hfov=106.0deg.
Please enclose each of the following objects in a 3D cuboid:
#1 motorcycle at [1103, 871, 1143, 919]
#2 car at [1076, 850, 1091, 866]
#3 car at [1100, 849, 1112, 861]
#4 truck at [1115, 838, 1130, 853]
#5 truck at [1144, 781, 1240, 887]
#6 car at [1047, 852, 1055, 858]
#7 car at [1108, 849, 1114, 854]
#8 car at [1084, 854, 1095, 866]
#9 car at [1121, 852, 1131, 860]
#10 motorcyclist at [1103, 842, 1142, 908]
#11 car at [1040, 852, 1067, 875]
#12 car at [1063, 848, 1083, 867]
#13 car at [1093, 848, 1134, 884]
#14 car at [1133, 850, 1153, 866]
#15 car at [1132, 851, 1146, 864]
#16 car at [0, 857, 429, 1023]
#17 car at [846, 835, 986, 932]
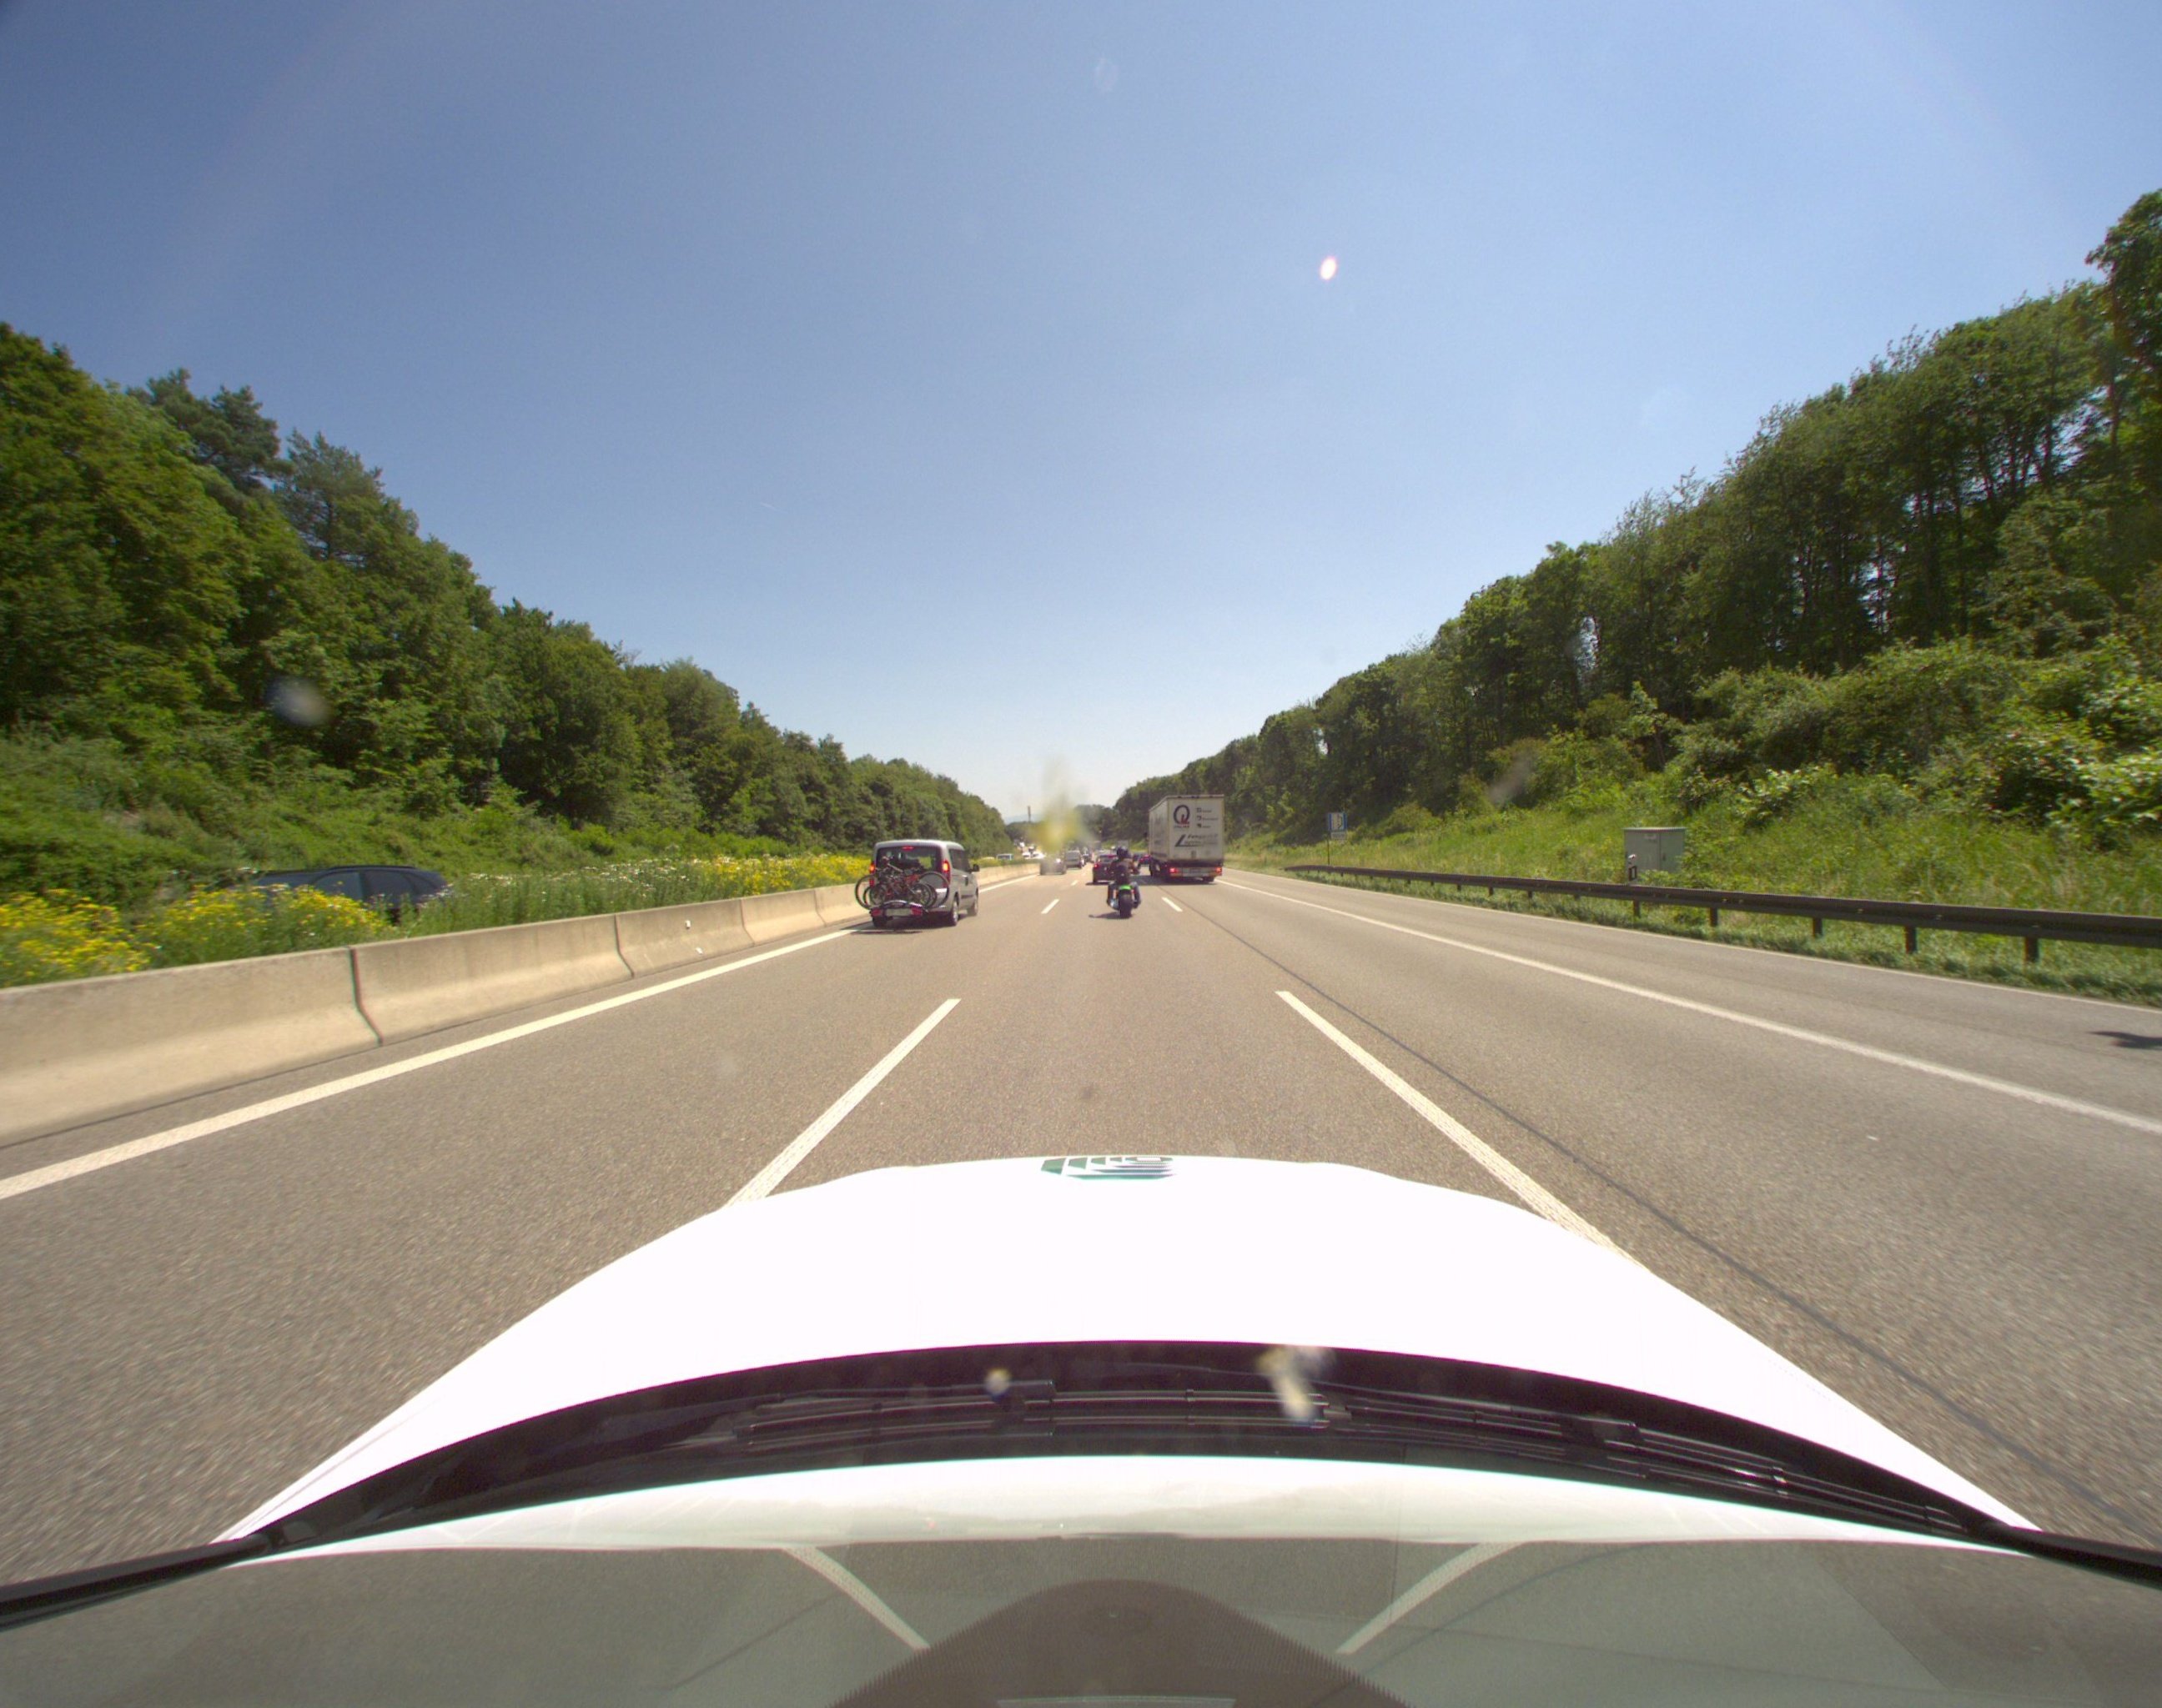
[{"bbox_3d":[0.988,0.933,19.257,0.859,0.982,2.132,-1,1,3],"label":"motorcycle"},{"bbox_3d":[0.351,0.519,103.128,1.824,1.810,4.121,-1,1,1],"label":"car"},{"bbox_3d":[4.064,0.164,132.798,1.824,1.810,4.121,-1,1,1],"label":"car"},{"bbox_3d":[9.063,-1.911,178.829,3.056,3.346,9.656,0,1,2],"label":"truck"},{"bbox_3d":[5.629,-1.056,45.075,3.371,4.717,17.717,0,1,2],"label":"truck"},{"bbox_3d":[-8.691,0.418,239.778,1.904,1.689,4.835,0,0,3],"label":"car"},{"bbox_3d":[8.581,-0.721,233.474,1.824,1.558,4.121,-1,1,1],"label":"car"},{"bbox_3d":[1.488,0.993,140.478,1.824,1.810,4.121,-1,1,1],"label":"car"},{"bbox_3d":[8.618,0.360,157.381,1.824,1.558,4.121,-1,1,1],"label":"car"},{"bbox_3d":[0.978,0.475,19.248,0.852,1.515,0.914,-1,0,2],"label":"motorcyclist"},{"bbox_3d":[-2.037,0.707,60.874,1.751,1.543,4.397,-1,1,1],"label":"car"},{"bbox_3d":[-0.794,0.368,83.728,1.824,1.810,4.121,-1,1,1],"label":"car"},{"bbox_3d":[1.542,0.551,39.625,1.839,1.557,4.441,-1,1,1],"label":"car"},{"bbox_3d":[6.348,0.397,83.351,1.824,1.558,4.121,-1,1,1],"label":"car"},{"bbox_3d":[8.088,0.488,113.551,1.824,1.558,4.121,-1,1,1],"label":"car"},{"bbox_3d":[-10.882,0.866,10.105,1.782,1.521,4.587,-3,0,1],"label":"car"},{"bbox_3d":[-3.490,0.552,18.414,1.891,1.848,5.484,-1,0,1],"label":"car"}]
